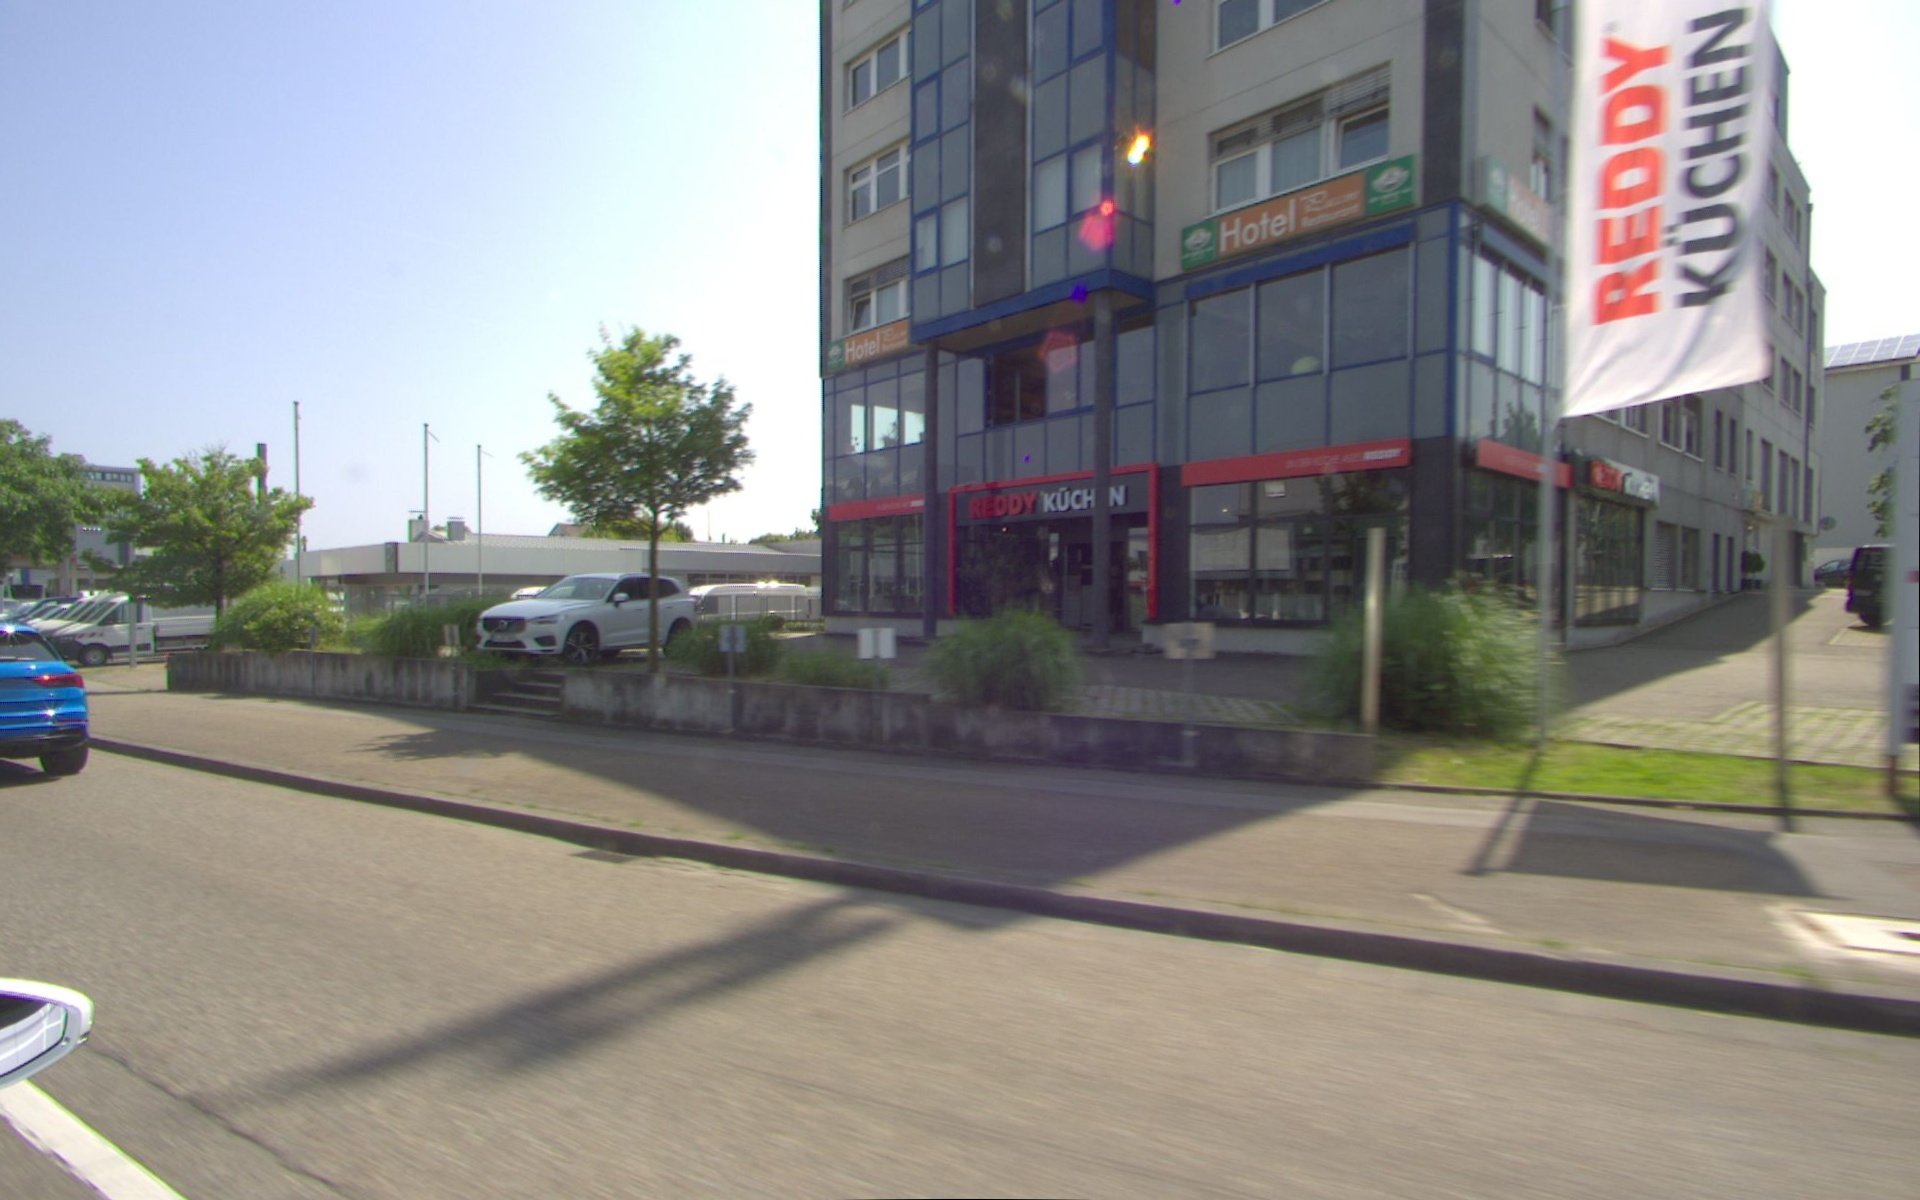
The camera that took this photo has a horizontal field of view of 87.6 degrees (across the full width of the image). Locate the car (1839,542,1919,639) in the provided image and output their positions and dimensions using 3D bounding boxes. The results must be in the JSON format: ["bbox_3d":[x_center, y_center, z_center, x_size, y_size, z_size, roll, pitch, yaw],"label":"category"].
[{"bbox_3d":[23.201,-0.156,22.475,5.091,2.062,1.892,0,-3,4],"label":"car"}]

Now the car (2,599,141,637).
[{"bbox_3d":[-50.874,1.059,57.425,2.236,2.039,5.859,0,-2,45],"label":"car"}]

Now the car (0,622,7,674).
[{"bbox_3d":[-28.541,1.322,28.439,4.271,1.424,1.789,-1,-2,42],"label":"car"}]

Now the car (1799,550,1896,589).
[{"bbox_3d":[45.241,-1.511,51.152,1.844,1.683,4.001,0,-2,10],"label":"car"}]

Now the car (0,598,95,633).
[{"bbox_3d":[-57.224,0.918,62.517,1.937,2.041,4.616,1,2,41],"label":"car"}]

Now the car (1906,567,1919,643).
[{"bbox_3d":[21.700,0.089,19.918,4.143,1.553,1.543,-1,0,4],"label":"car"}]

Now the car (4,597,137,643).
[{"bbox_3d":[-45.674,0.978,51.507,2.105,2.143,4.872,1,2,42],"label":"car"}]

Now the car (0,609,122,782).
[{"bbox_3d":[-10.760,0.904,10.465,4.333,1.618,1.909,0,-1,33],"label":"car"}]

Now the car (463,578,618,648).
[{"bbox_3d":[-16.325,0.593,39.185,2.017,2.568,5.252,-2,-3,44],"label":"car"}]

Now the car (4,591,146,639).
[{"bbox_3d":[-48.928,0.892,55.453,5.808,2.555,2.183,2,-3,-45],"label":"car"}]

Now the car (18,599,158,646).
[{"bbox_3d":[-43.612,1.073,50.175,2.017,2.125,5.035,0,2,42],"label":"car"}]

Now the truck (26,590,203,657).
[{"bbox_3d":[-33.755,0.860,40.114,2.089,2.469,5.214,1,1,44],"label":"truck"}]

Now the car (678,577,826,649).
[{"bbox_3d":[-8.615,0.627,42.024,1.980,2.845,6.081,-2,-3,44],"label":"car"}]

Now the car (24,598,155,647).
[{"bbox_3d":[-41.579,1.042,47.902,2.175,2.041,4.481,-1,2,44],"label":"car"}]

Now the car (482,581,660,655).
[{"bbox_3d":[-14.384,0.744,37.290,5.849,2.560,2.099,2,-3,-44],"label":"car"}]

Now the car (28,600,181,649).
[{"bbox_3d":[-37.551,1.024,44.035,2.119,1.997,4.884,0,1,43],"label":"car"}]

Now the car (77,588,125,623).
[{"bbox_3d":[-69.096,0.402,80.527,6.942,2.711,2.243,1,1,44],"label":"car"}]

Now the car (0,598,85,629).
[{"bbox_3d":[-57.201,0.844,62.188,1.861,1.804,4.127,-2,0,42],"label":"car"}]

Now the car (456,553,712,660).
[{"bbox_3d":[-6.762,0.212,18.682,1.964,1.735,4.735,-1,-2,18],"label":"car"}]

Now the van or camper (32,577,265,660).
[{"bbox_3d":[-31.194,0.643,38.747,2.250,2.937,6.760,1,1,42],"label":"van or camper"}]

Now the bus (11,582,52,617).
[{"bbox_3d":[-89.595,-0.089,96.693,2.785,3.120,12.164,1,1,-43],"label":"bus"}]

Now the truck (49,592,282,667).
[{"bbox_3d":[-28.029,0.944,35.548,2.343,2.368,6.207,1,2,44],"label":"truck"}]
